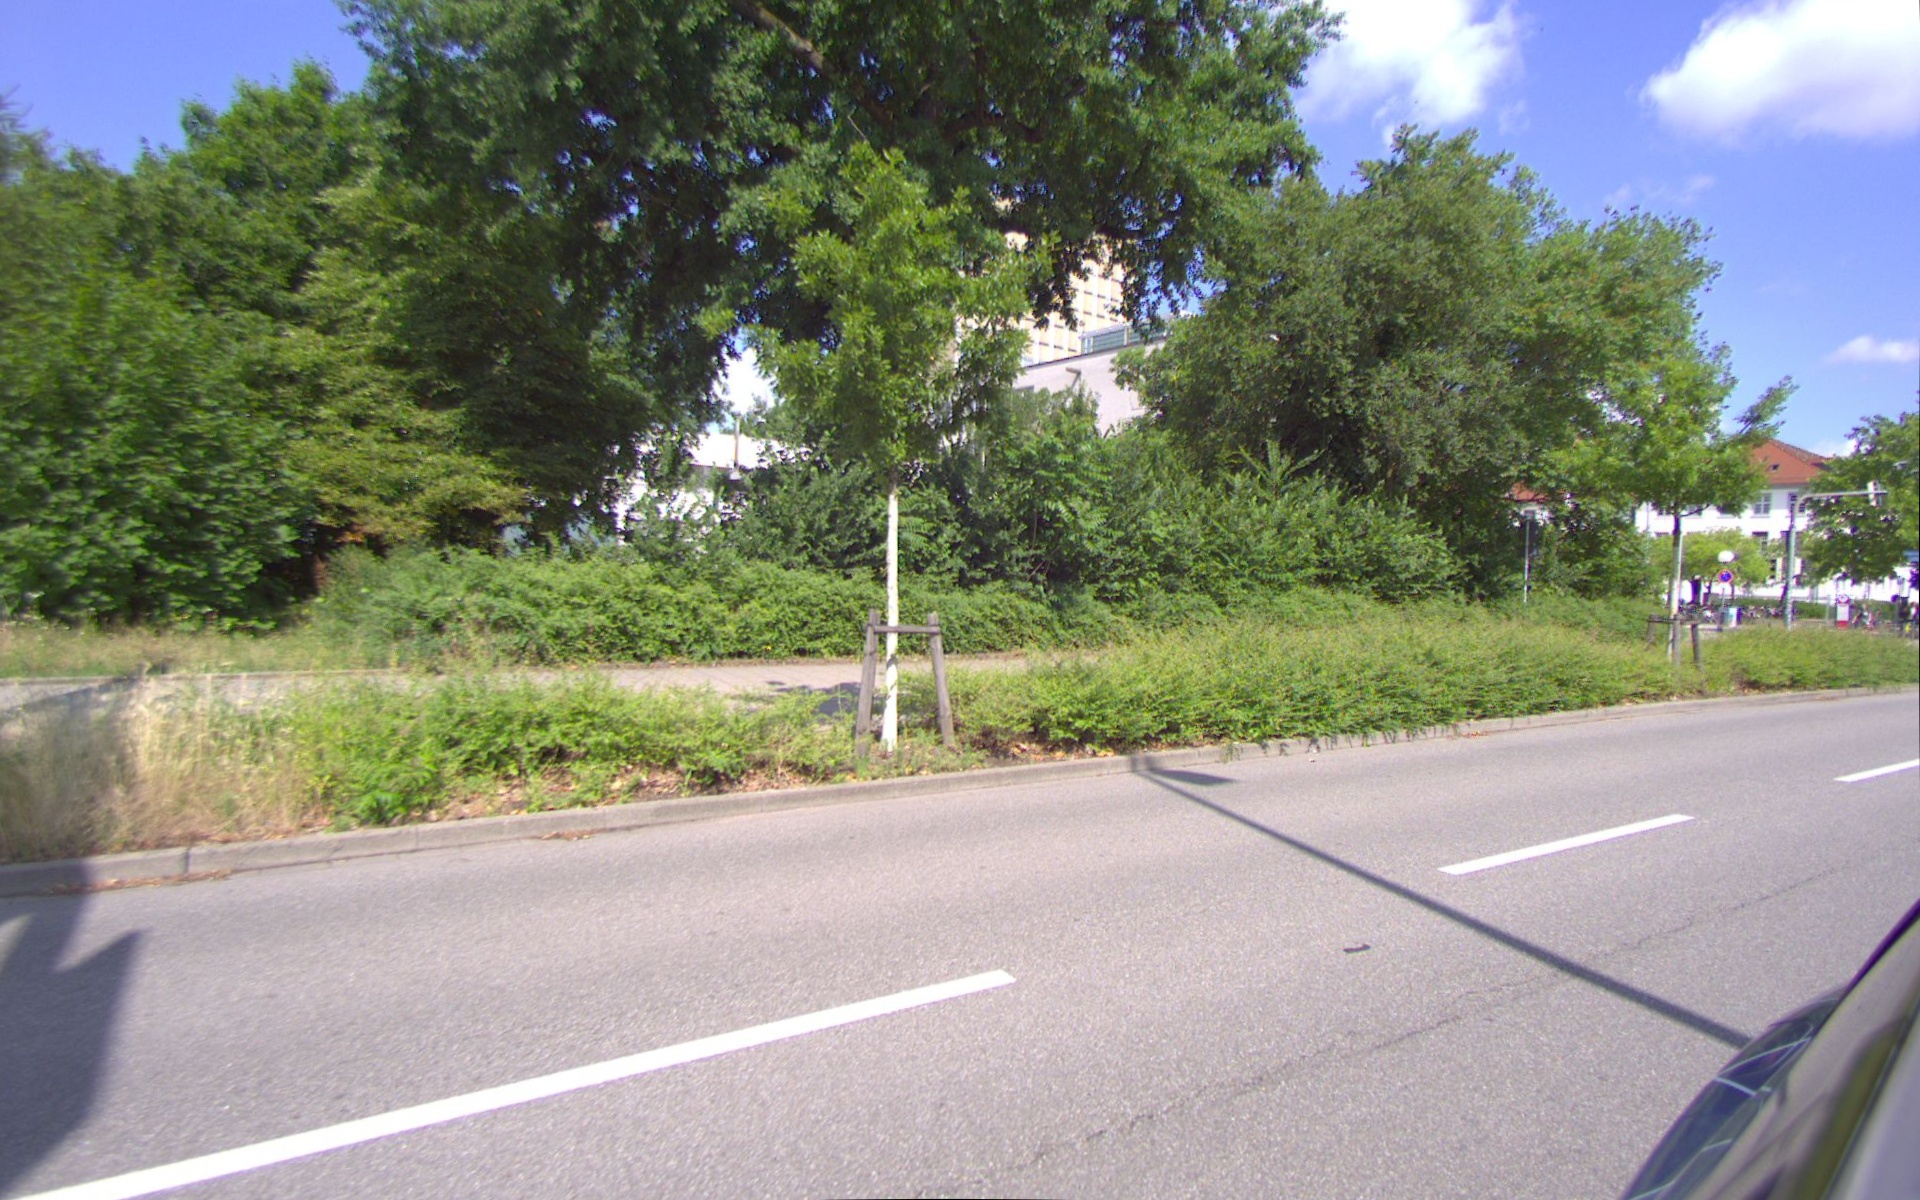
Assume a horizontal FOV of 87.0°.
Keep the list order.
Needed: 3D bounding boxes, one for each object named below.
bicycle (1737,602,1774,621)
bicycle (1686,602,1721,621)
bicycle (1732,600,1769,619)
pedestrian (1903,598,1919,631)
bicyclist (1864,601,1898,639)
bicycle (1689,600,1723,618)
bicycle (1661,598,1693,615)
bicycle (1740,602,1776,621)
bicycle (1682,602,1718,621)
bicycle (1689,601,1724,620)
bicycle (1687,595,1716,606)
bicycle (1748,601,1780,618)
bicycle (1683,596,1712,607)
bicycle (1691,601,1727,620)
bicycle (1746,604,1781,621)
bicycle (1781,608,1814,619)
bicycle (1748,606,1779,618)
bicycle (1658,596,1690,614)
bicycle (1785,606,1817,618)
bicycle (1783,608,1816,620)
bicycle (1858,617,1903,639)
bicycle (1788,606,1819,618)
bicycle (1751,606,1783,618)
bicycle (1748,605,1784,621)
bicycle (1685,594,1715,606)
[{"bbox_3d":[50.010,0.713,63.631,0.616,1.110,1.671,1,2,-40],"label":"bicycle"},{"bbox_3d":[46.566,0.697,63.383,0.616,1.110,1.671,1,2,-40],"label":"bicycle"},{"bbox_3d":[48.878,0.566,62.589,0.616,1.110,1.671,1,2,-40],"label":"bicycle"},{"bbox_3d":[49.183,0.740,52.084,0.626,1.670,0.744,1,1,-27],"label":"pedestrian"},{"bbox_3d":[39.083,0.835,42.960,0.602,1.526,0.917,2,1,7],"label":"bicyclist"},{"bbox_3d":[48.556,0.567,65.857,0.616,1.110,1.671,1,2,-40],"label":"bicycle"},{"bbox_3d":[50.360,0.421,71.096,0.616,1.110,1.671,1,2,-40],"label":"bicycle"},{"bbox_3d":[50.628,0.741,64.199,0.616,1.110,1.671,1,2,-40],"label":"bicycle"},{"bbox_3d":[46.027,0.697,62.967,0.616,1.110,1.671,1,2,-40],"label":"bicycle"},{"bbox_3d":[47.127,0.656,63.915,0.616,1.110,1.671,1,2,-40],"label":"bicycle"},{"bbox_3d":[56.481,0.021,77.068,0.616,0.800,1.671,1,2,-40],"label":"bicycle"},{"bbox_3d":[57.001,0.680,71.747,0.616,1.110,1.671,1,2,-40],"label":"bicycle"},{"bbox_3d":[55.307,0.119,75.896,0.616,0.800,1.671,1,2,-40],"label":"bicycle"},{"bbox_3d":[47.646,0.655,64.381,0.616,1.110,1.671,1,2,-40],"label":"bicycle"},{"bbox_3d":[51.578,0.797,64.982,0.616,1.048,1.671,1,2,-40],"label":"bicycle"},{"bbox_3d":[59.107,0.949,71.445,0.616,0.743,1.671,1,2,-40],"label":"bicycle"},{"bbox_3d":[57.870,0.840,72.891,0.616,0.800,1.670,1,2,-42],"label":"bicycle"},{"bbox_3d":[49.730,0.347,70.499,0.616,1.110,1.671,1,2,-40],"label":"bicycle"},{"bbox_3d":[60.561,0.865,72.868,0.616,0.743,1.671,1,2,-40],"label":"bicycle"},{"bbox_3d":[59.717,0.967,72.006,0.616,0.743,1.671,1,2,-40],"label":"bicycle"},{"bbox_3d":[39.069,1.168,42.976,0.609,0.843,1.512,2,1,6],"label":"bicycle"},{"bbox_3d":[61.192,0.872,73.426,0.616,0.743,1.671,1,2,-40],"label":"bicycle"},{"bbox_3d":[58.462,0.847,73.313,0.616,0.800,1.670,1,2,-42],"label":"bicycle"},{"bbox_3d":[52.150,0.836,65.495,0.616,0.997,1.671,1,2,-40],"label":"bicycle"},{"bbox_3d":[55.866,-0.003,76.426,0.616,0.800,1.671,1,2,-40],"label":"bicycle"}]
